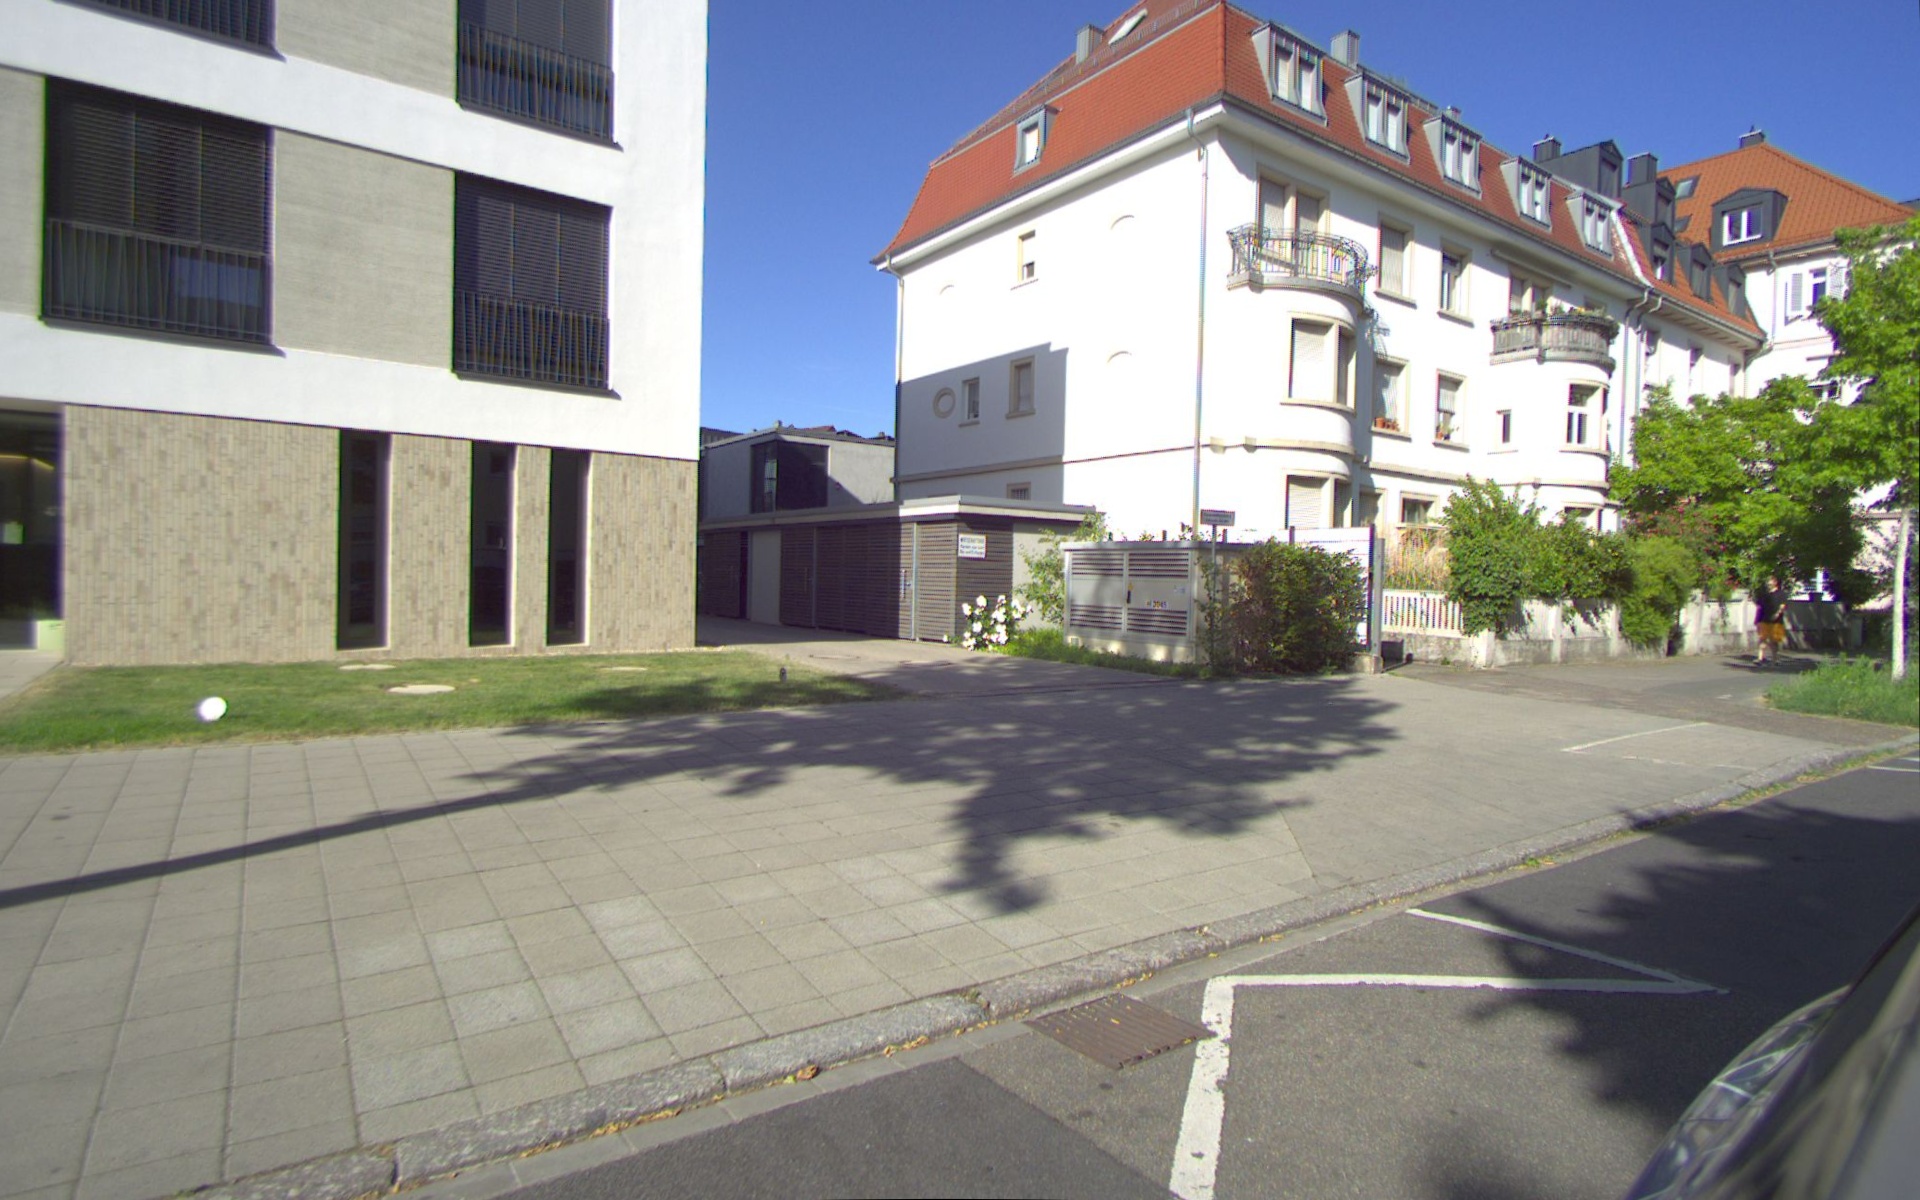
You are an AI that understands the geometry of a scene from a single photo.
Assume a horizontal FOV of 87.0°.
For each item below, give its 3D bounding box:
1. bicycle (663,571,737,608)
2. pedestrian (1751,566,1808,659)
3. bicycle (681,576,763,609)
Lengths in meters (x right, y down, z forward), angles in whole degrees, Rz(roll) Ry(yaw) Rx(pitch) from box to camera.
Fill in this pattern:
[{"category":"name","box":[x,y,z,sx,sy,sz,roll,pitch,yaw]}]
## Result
[{"category":"bicycle","box":[-8.398,-0.347,32.690,2.263,1.138,0.662,1,1,-14]},{"category":"pedestrian","box":[16.354,0.235,20.198,0.784,1.796,0.624,1,2,-35]},{"category":"bicycle","box":[-7.005,-0.209,29.841,2.267,0.936,0.661,1,2,-33]}]
